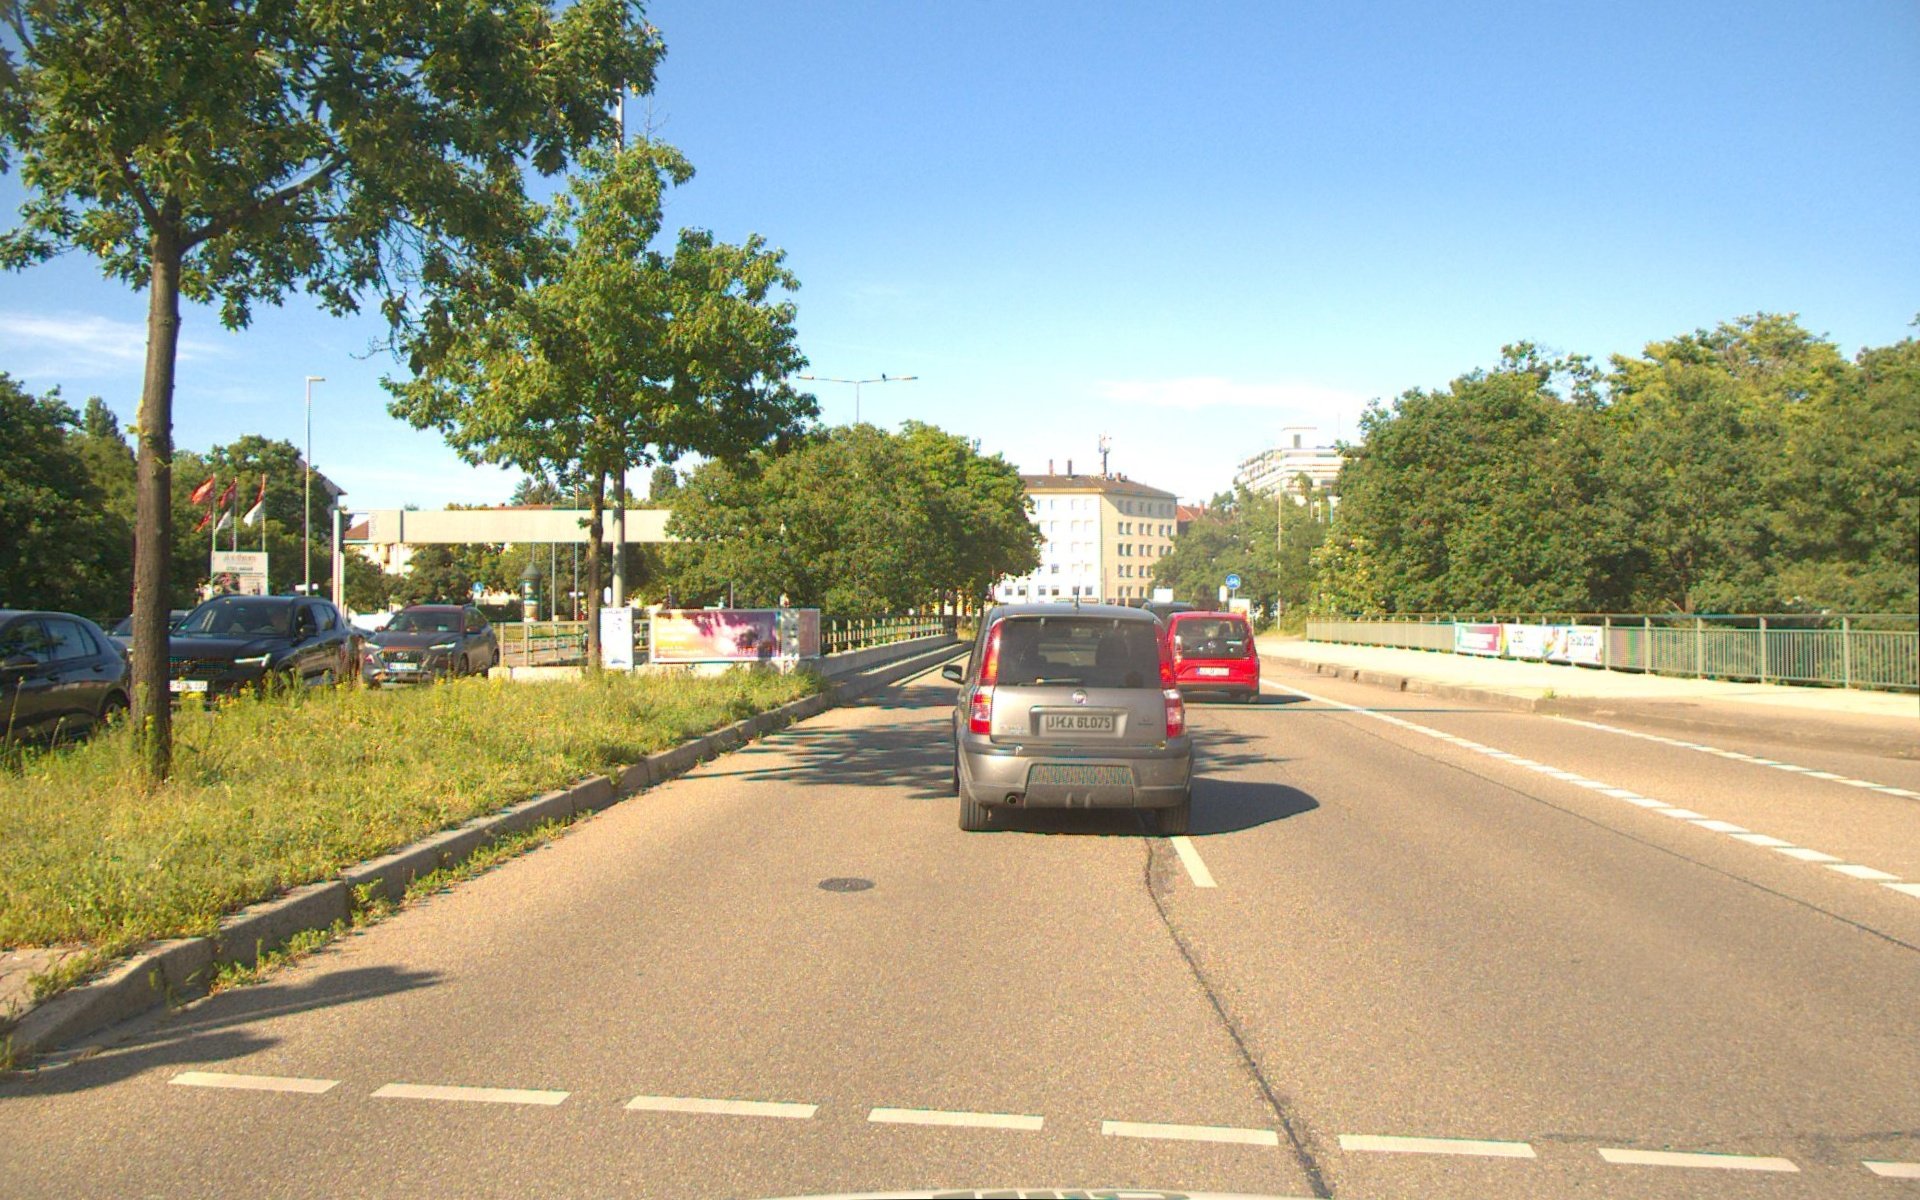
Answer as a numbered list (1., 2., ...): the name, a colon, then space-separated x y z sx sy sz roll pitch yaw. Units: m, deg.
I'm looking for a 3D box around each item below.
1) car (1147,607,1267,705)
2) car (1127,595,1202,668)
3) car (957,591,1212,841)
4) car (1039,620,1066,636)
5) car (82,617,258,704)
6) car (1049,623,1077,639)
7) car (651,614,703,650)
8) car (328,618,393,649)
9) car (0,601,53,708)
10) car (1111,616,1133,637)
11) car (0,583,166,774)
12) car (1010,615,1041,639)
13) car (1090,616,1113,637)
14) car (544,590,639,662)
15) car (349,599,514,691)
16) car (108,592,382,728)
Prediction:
1. car: 4.148 0.901 28.283 1.584 1.488 3.752 2 0 2
2. car: 5.572 0.872 45.205 1.904 1.872 4.155 1 -1 6
3. car: 0.838 0.740 12.471 1.584 1.542 3.820 2 0 1
4. car: 8.779 2.647 156.940 1.904 1.555 4.100 0 0 13
5. car: -15.951 1.179 33.599 1.898 1.651 3.738 0 0 -3
6. car: 10.317 3.100 165.326 1.904 1.555 4.099 0 0 18
7. car: -12.571 1.413 73.600 1.709 1.526 3.998 -1 -1 -2
8. car: -41.536 2.308 114.592 4.178 2.049 1.986 -1 -1 -23
9. car: -15.698 0.841 24.750 1.898 1.651 4.503 0 0 -2
10. car: 15.823 2.616 161.776 1.904 1.872 4.155 -4 -2 7
11. car: -9.297 0.680 15.374 1.898 1.651 4.502 0 0 -4
12. car: 4.371 1.795 110.006 1.904 1.555 4.099 0 0 4
13. car: 13.272 2.512 155.368 1.904 1.872 4.155 -4 -2 7
14. car: -10.985 0.758 49.559 1.953 2.049 4.332 -1 -1 -2
15. car: -10.053 0.815 31.812 1.898 1.651 4.503 0 0 -2
16. car: -9.464 0.739 22.342 1.898 1.651 4.503 0 0 -2
